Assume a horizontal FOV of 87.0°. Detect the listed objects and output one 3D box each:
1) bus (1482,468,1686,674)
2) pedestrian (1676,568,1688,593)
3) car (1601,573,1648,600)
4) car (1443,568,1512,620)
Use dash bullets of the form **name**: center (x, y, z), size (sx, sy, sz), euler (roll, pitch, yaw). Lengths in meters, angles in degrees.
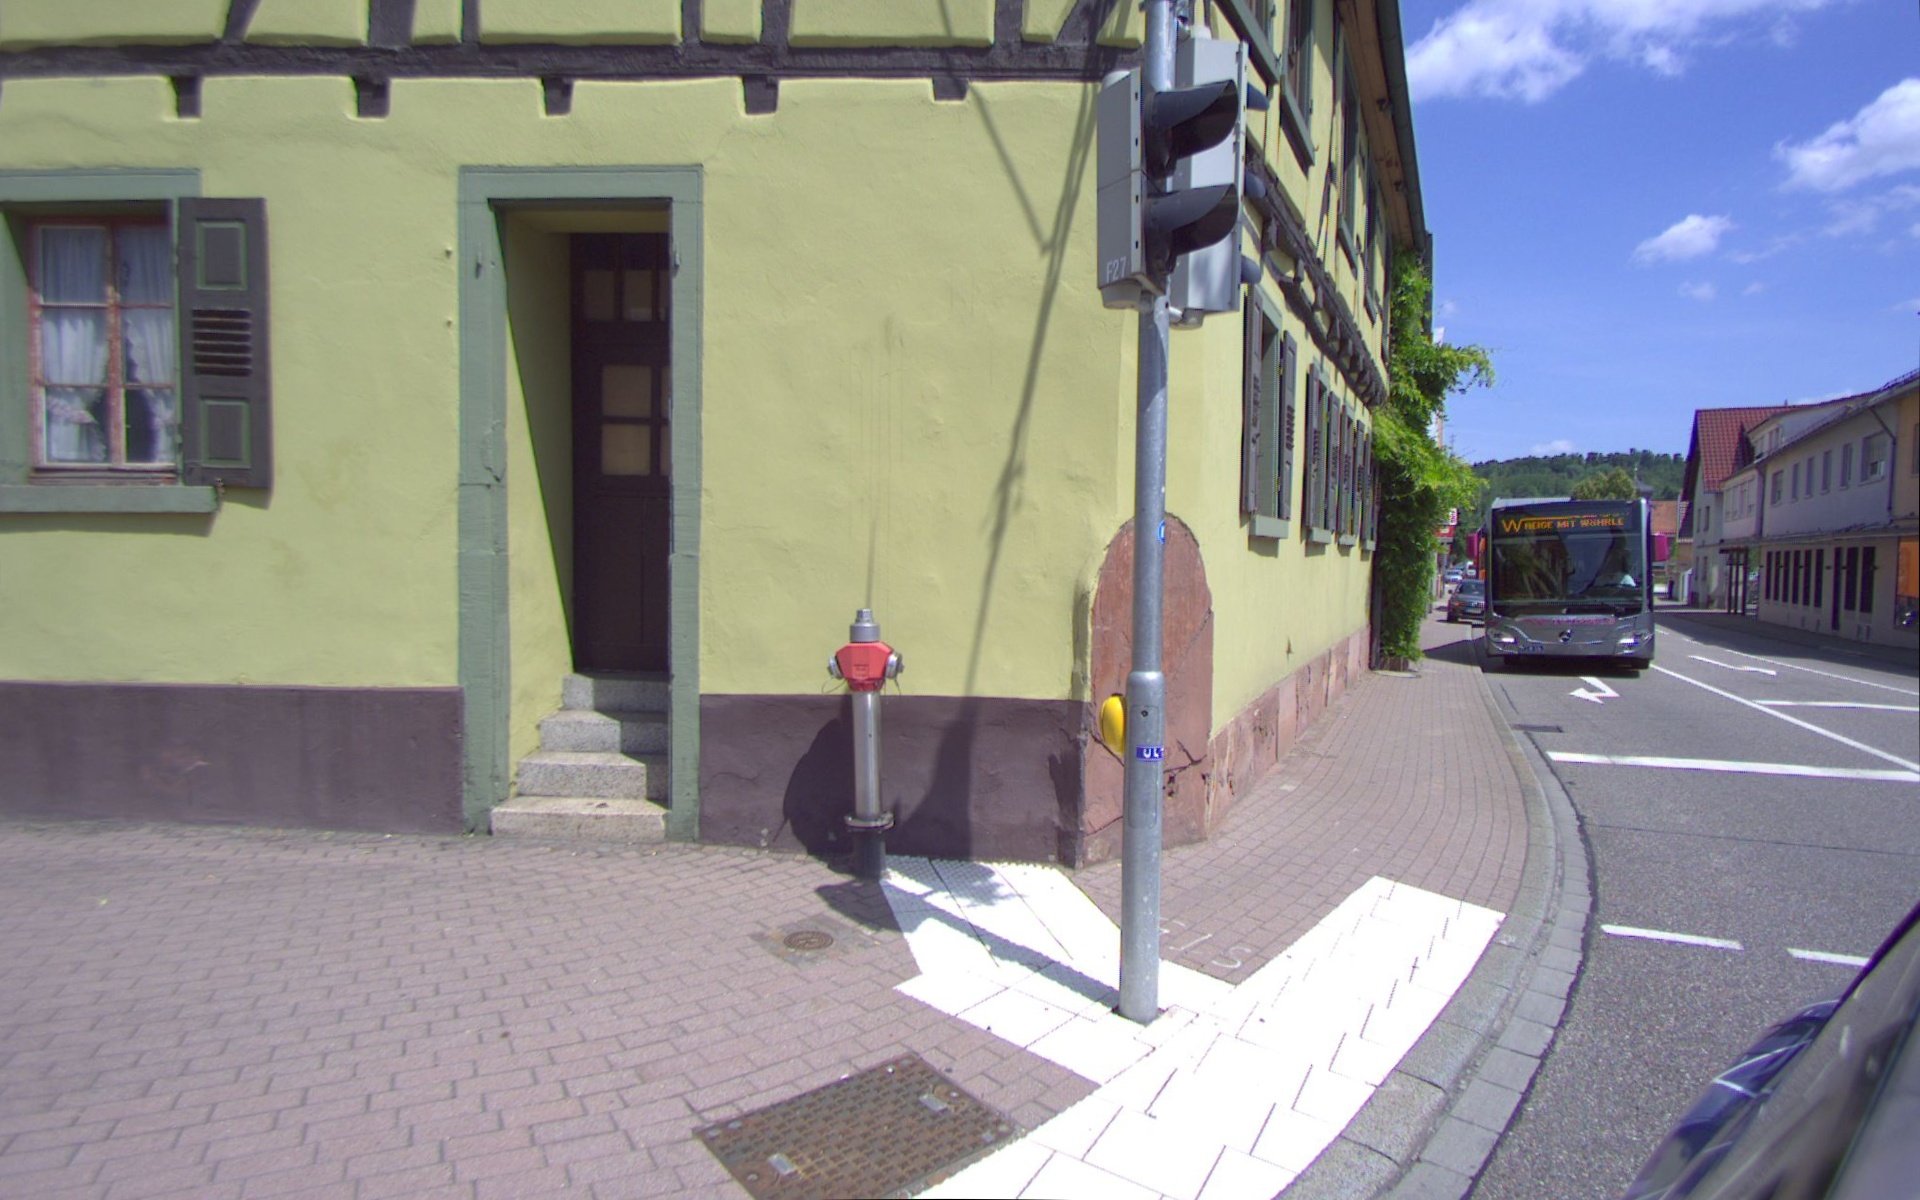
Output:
- **bus**: center (15.351, -0.565, 24.634), size (2.840, 3.244, 18.807), euler (1, 1, 33)
- **pedestrian**: center (51.965, -1.383, 72.882), size (0.463, 1.785, 0.478), euler (1, 2, 7)
- **car**: center (40.749, -0.873, 62.114), size (1.786, 1.505, 4.753), euler (4, 4, 27)
- **car**: center (19.420, -0.283, 37.885), size (1.984, 1.729, 4.057), euler (4, 4, 30)
